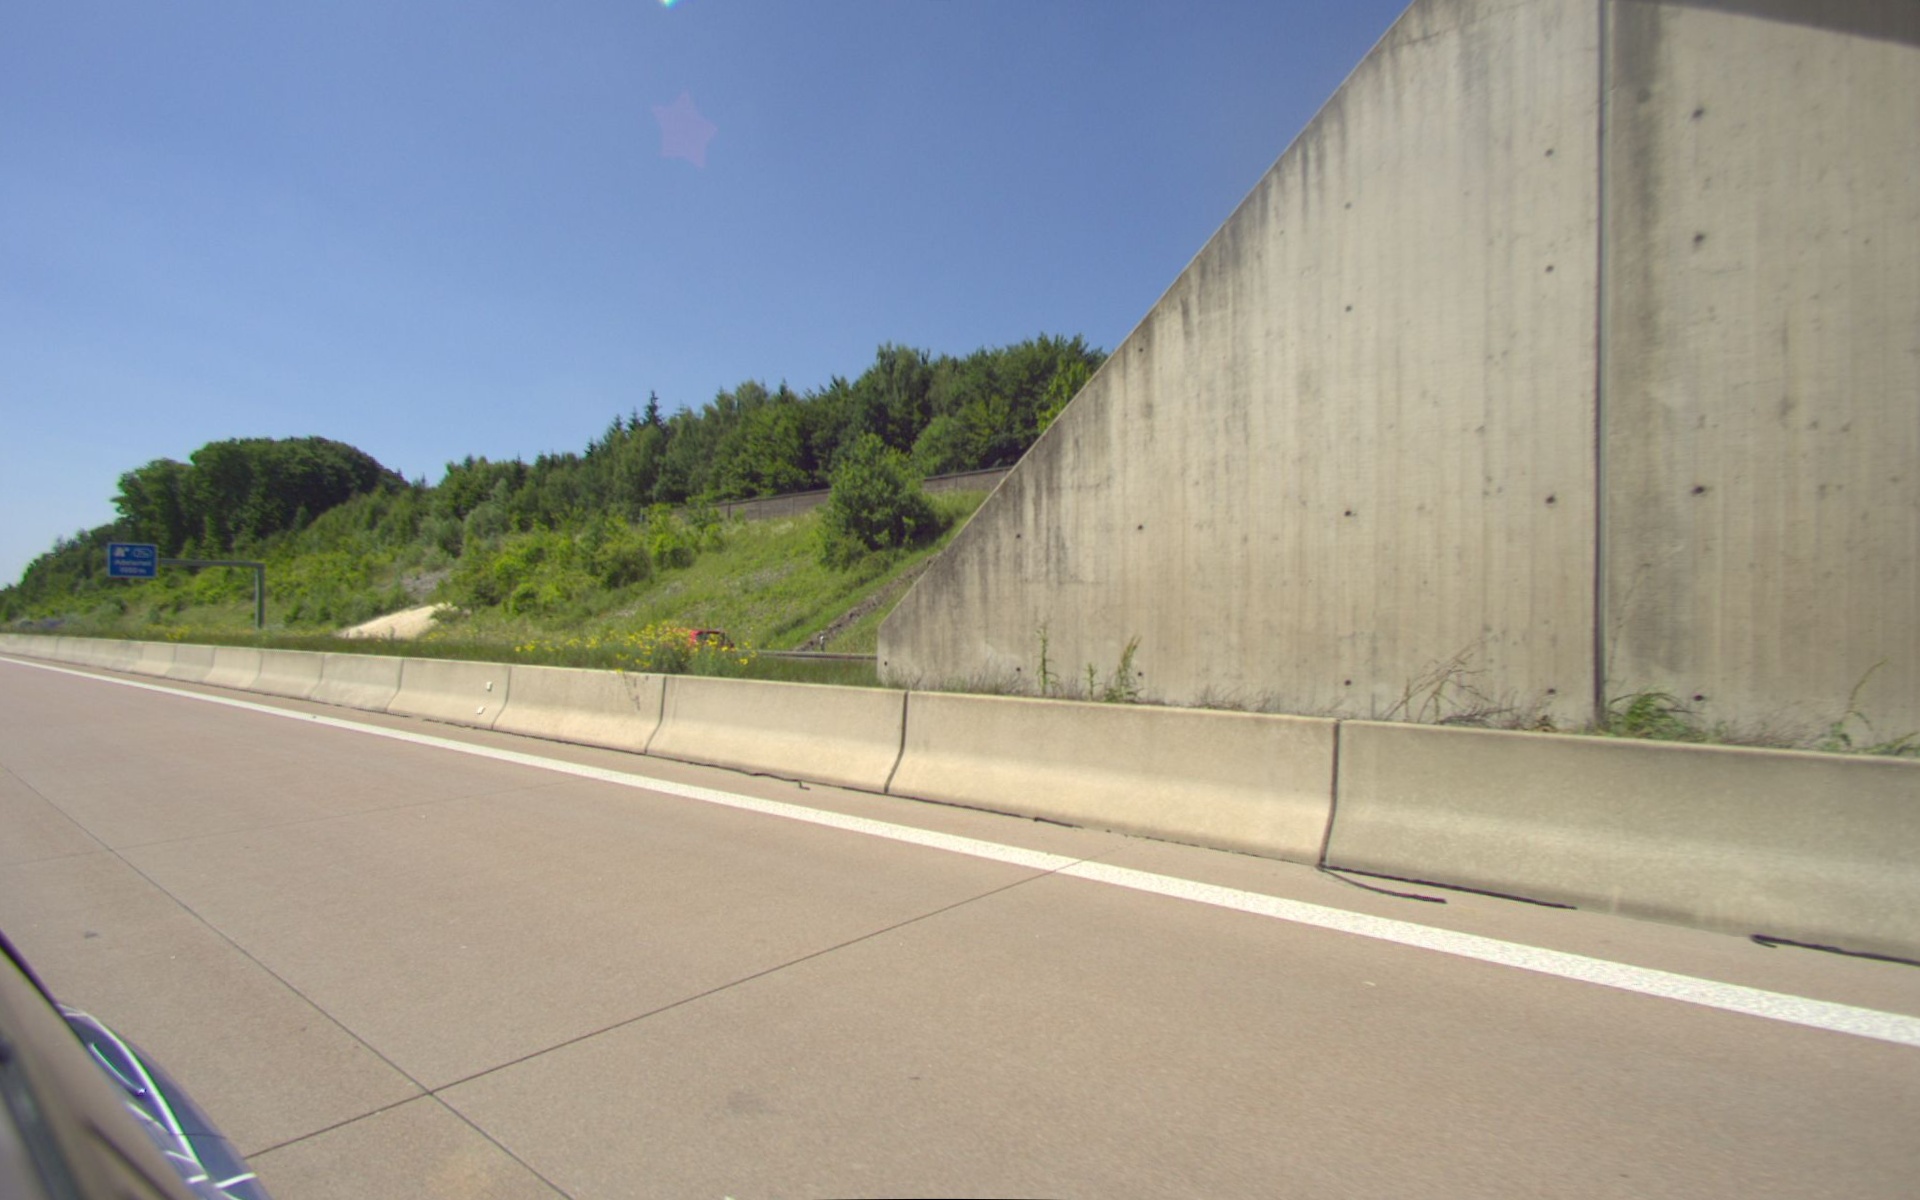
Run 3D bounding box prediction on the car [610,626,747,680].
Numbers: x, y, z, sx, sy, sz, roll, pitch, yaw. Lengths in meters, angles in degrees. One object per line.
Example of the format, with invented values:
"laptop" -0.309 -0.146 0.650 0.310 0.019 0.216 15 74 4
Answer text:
"car" -9.157 1.646 32.662 4.976 1.606 1.871 -1 -1 41
